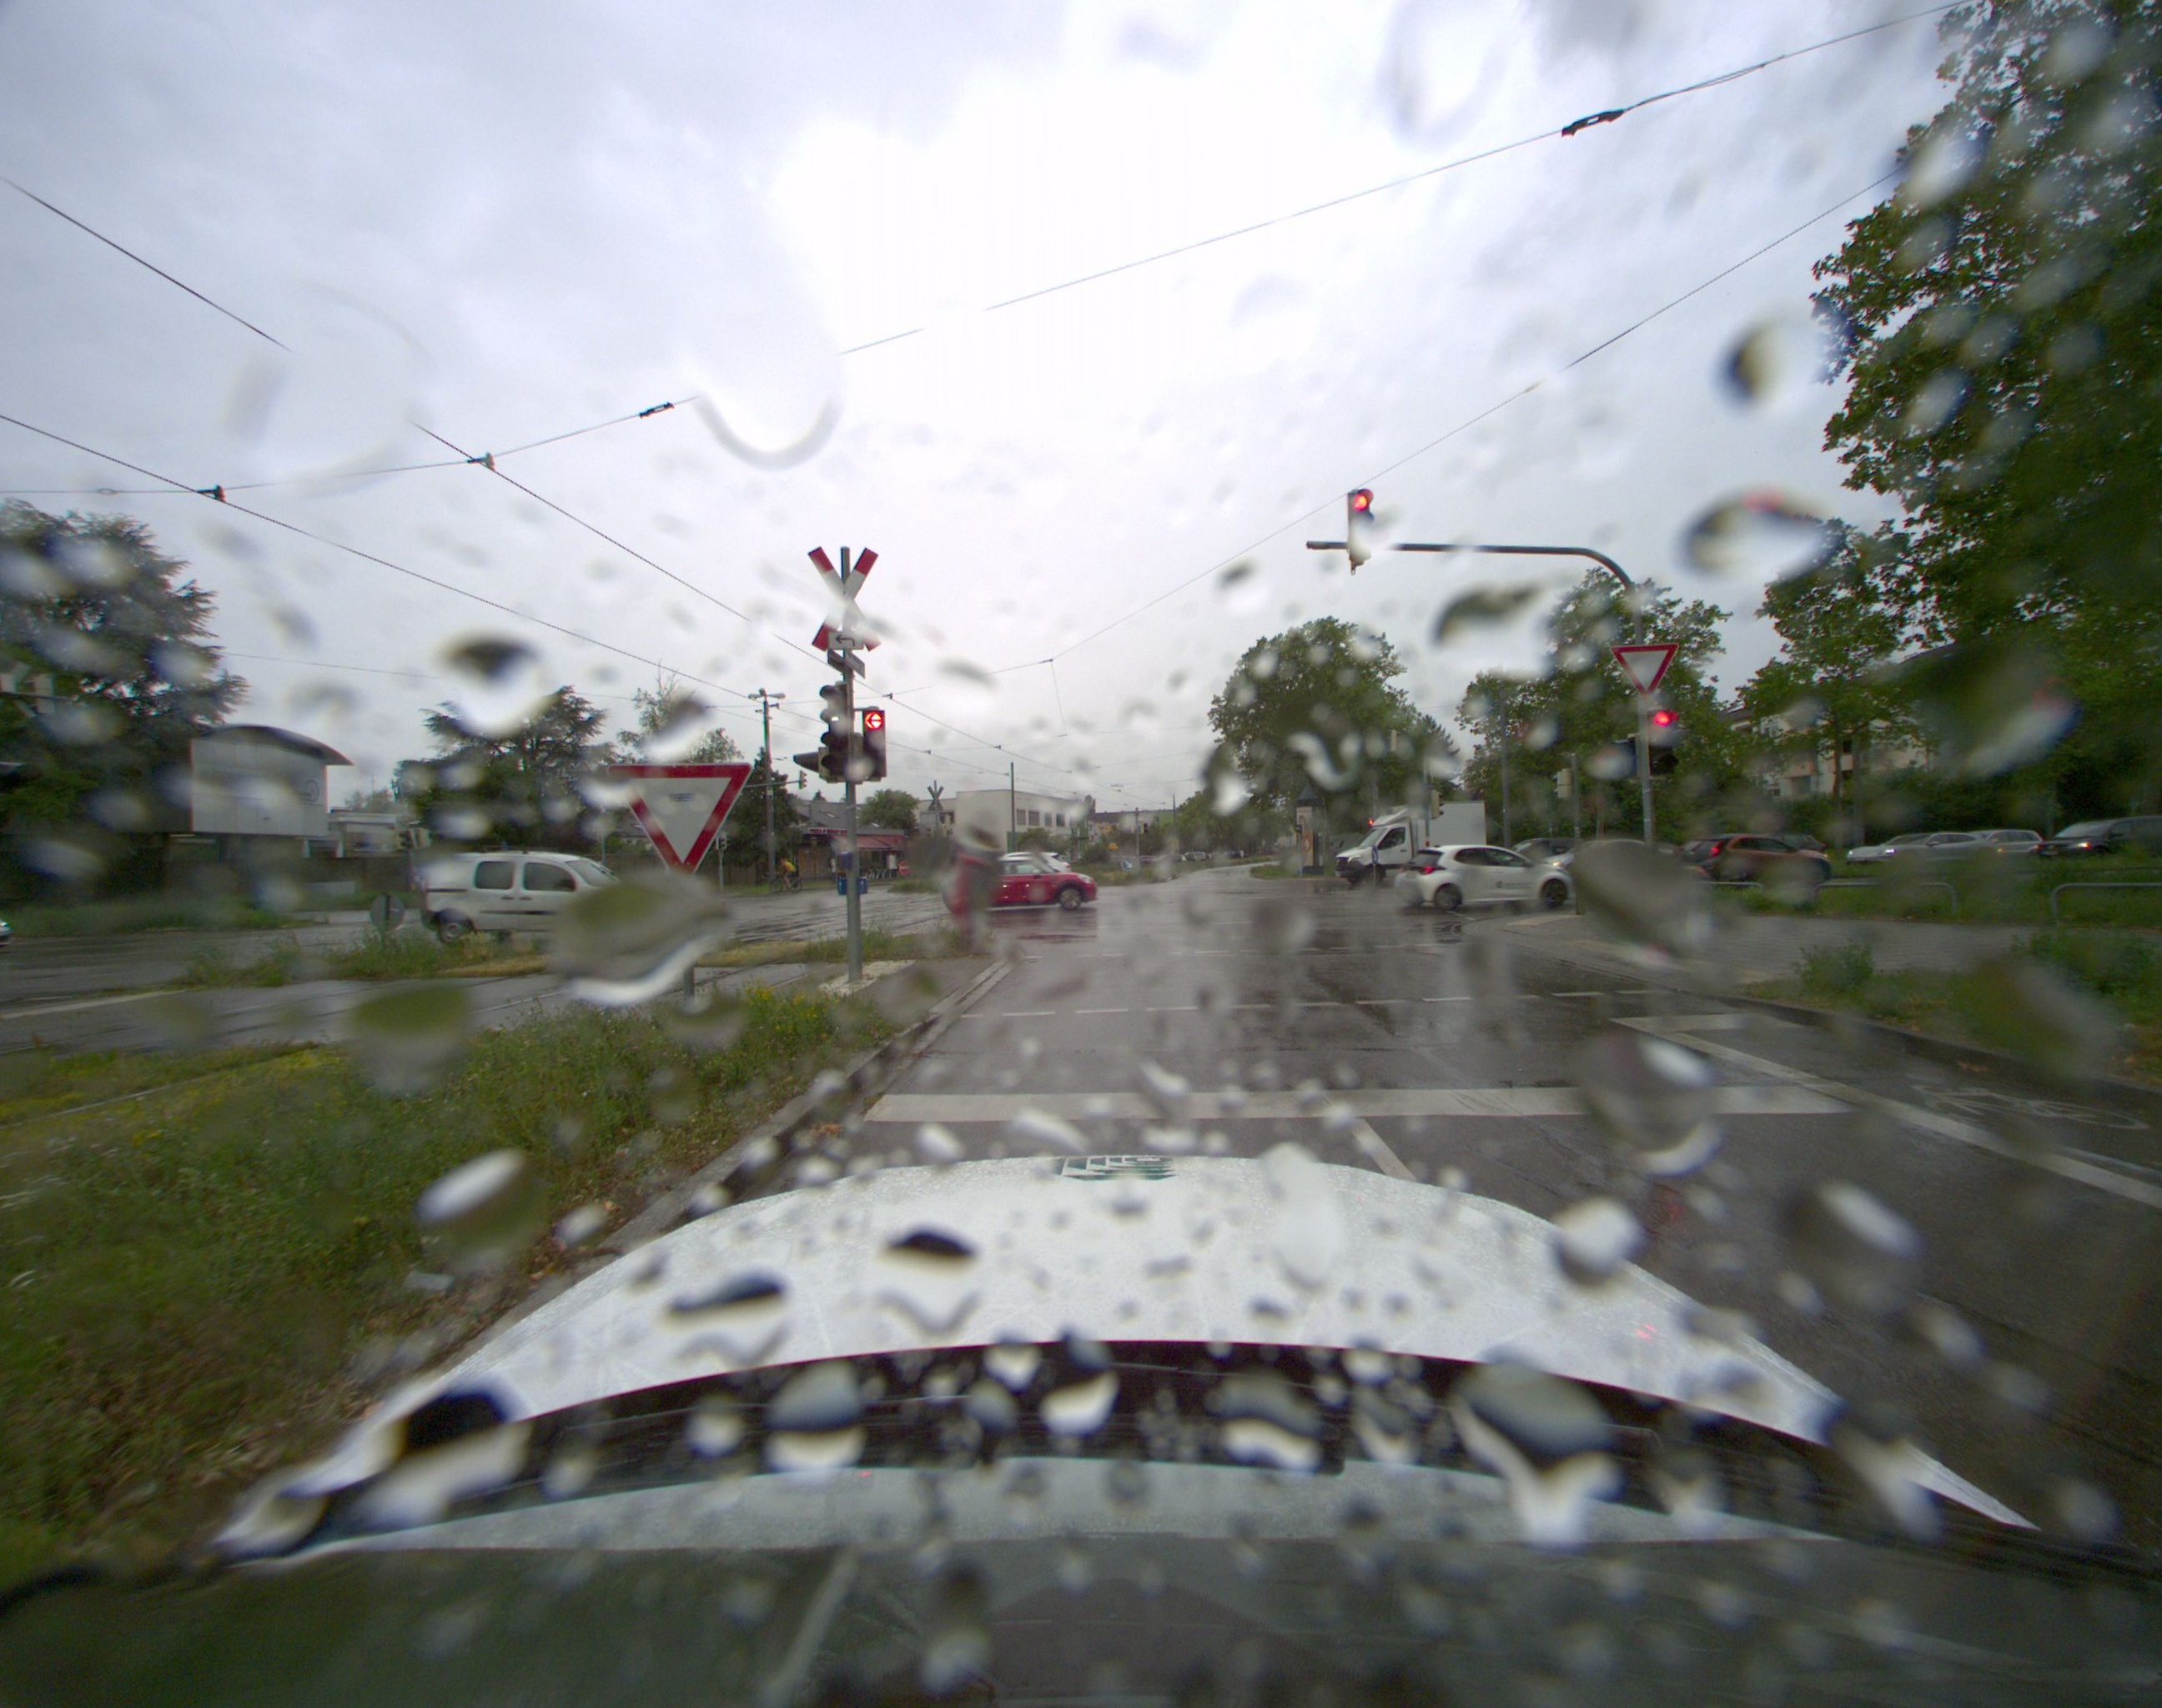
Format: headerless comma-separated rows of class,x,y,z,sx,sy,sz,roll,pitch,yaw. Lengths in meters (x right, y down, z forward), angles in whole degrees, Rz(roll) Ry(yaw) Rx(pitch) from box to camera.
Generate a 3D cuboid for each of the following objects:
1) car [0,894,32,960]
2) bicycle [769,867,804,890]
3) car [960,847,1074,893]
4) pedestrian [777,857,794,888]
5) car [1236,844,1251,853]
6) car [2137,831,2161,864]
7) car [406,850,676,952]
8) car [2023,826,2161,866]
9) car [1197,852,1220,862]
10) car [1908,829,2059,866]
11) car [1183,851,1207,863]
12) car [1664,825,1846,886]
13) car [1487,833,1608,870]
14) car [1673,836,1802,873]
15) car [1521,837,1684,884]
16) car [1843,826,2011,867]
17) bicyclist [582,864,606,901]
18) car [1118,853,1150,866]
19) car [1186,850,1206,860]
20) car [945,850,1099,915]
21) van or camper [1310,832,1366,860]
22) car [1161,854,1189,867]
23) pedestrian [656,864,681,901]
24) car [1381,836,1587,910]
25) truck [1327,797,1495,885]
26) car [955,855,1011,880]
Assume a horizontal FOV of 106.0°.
car,-26.577,1.745,17.827,4.358,1.455,1.646,-2,-1,-11
bicycle,-14.614,1.212,40.372,1.552,1.101,0.501,-2,-1,9
car,-2.572,0.641,33.072,4.453,1.656,1.649,-2,-1,-5
pedestrian,-14.656,0.917,40.378,0.572,1.475,0.501,-2,-1,10
car,42.324,-1.468,212.282,3.416,2.014,1.816,-3,-1,17
car,49.955,-0.361,35.917,4.649,1.422,1.764,-2,-1,-2
car,-10.801,0.887,16.557,4.205,1.796,1.648,-2,1,-7
car,39.666,-0.319,31.418,4.647,1.422,1.765,-2,-1,-1
car,24.159,0.560,154.342,4.112,1.860,1.677,-2,-1,7
car,38.676,-0.270,34.981,4.649,1.422,1.764,-2,-1,-2
car,20.358,0.604,145.139,4.112,1.975,1.677,-2,-1,7
car,18.963,0.040,23.019,3.808,1.499,1.651,-2,-1,-2
car,20.007,-0.117,35.060,4.188,1.422,1.765,-2,-1,-1
car,28.074,0.042,34.918,4.109,1.422,1.765,-2,-1,-1
car,17.683,0.220,27.750,4.498,1.390,1.644,-2,-1,-1
car,32.416,-0.273,31.304,4.647,1.422,1.765,-2,-1,-1
bicyclist,-22.700,1.299,37.980,0.682,1.683,0.641,-2,-1,-3
car,7.253,0.762,110.834,4.112,1.669,1.677,-2,-1,7
car,24.116,0.213,170.973,3.958,2.014,1.842,-2,-1,15
car,-1.574,0.713,21.652,3.903,1.499,1.648,-2,1,-7
van or camper,25.298,-0.797,80.188,5.177,2.697,2.254,0,0,19
car,14.724,1.079,127.349,4.127,1.860,1.671,-2,-1,-4
pedestrian,-20.141,1.395,39.757,0.808,1.763,0.898,-2,-1,-44
car,9.412,0.431,19.187,4.058,1.499,1.649,-2,-1,-5
truck,12.307,-0.480,30.581,5.456,3.058,1.979,-2,-1,-3
car,-7.908,1.060,65.941,4.112,1.860,1.677,-2,-1,7
